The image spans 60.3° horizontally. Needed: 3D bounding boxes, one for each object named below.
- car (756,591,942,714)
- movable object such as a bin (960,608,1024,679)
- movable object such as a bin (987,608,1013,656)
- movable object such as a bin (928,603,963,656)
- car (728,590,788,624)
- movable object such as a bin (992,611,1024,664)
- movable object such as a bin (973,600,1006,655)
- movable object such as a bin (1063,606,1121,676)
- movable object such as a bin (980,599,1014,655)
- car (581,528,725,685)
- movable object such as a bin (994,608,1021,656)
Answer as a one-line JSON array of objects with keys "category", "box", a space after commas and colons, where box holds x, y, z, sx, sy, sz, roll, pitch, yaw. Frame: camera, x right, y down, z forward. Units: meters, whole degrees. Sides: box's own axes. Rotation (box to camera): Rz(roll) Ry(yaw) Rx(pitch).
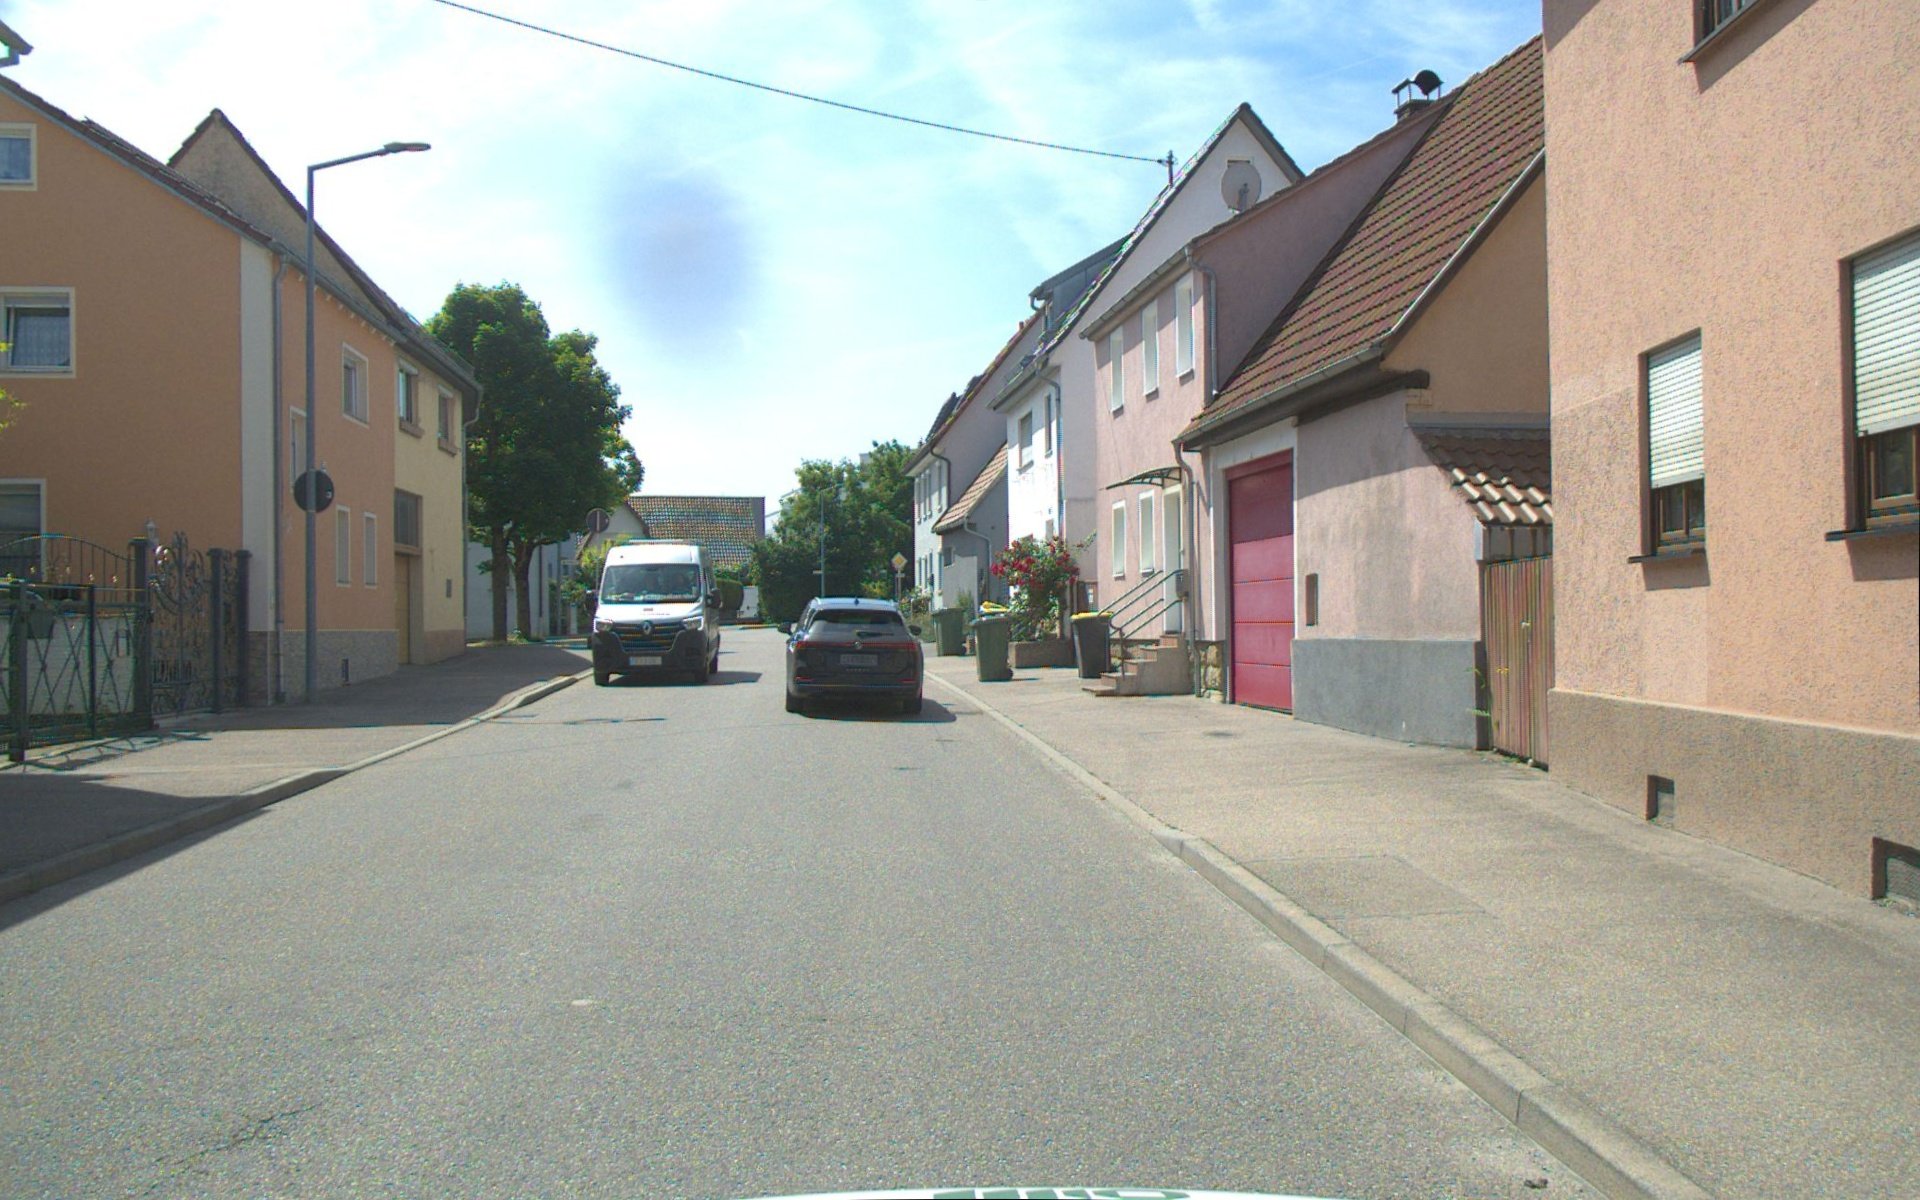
[{"category": "car", "box": [-1.626, 0.633, 22.502, 1.809, 1.445, 4.667, 1, 0, -13]}, {"category": "movable object such as a bin", "box": [0.541, 0.731, 28.157, 0.860, 1.093, 0.870, -5, 1, -11]}, {"category": "movable object such as a bin", "box": [0.866, 0.689, 35.807, 0.494, 1.011, 0.441, -1, 0, -7]}, {"category": "movable object such as a bin", "box": [-0.326, 0.648, 37.304, 0.666, 1.175, 0.818, 0, 0, -11]}, {"category": "car", "box": [-12.424, 0.402, 102.089, 2.082, 2.049, 4.942, -1, 0, 13]}, {"category": "movable object such as a bin", "box": [0.994, 0.769, 34.084, 0.581, 1.058, 0.530, -1, 0, -7]}, {"category": "movable object such as a bin", "box": [0.665, 0.609, 37.070, 0.652, 1.215, 0.659, -1, 0, -7]}, {"category": "movable object such as a bin", "box": [2.162, 0.664, 27.147, 0.666, 1.068, 0.833, -5, 1, -11]}, {"category": "movable object such as a bin", "box": [0.805, 0.583, 36.338, 0.652, 1.215, 0.587, -1, 0, -7]}, {"category": "car", "box": [-5.592, 0.090, 30.832, 2.073, 2.607, 5.820, -1, 0, -6]}, {"category": "movable object such as a bin", "box": [0.999, 0.674, 34.935, 0.494, 1.011, 0.441, -1, 0, -7]}]
